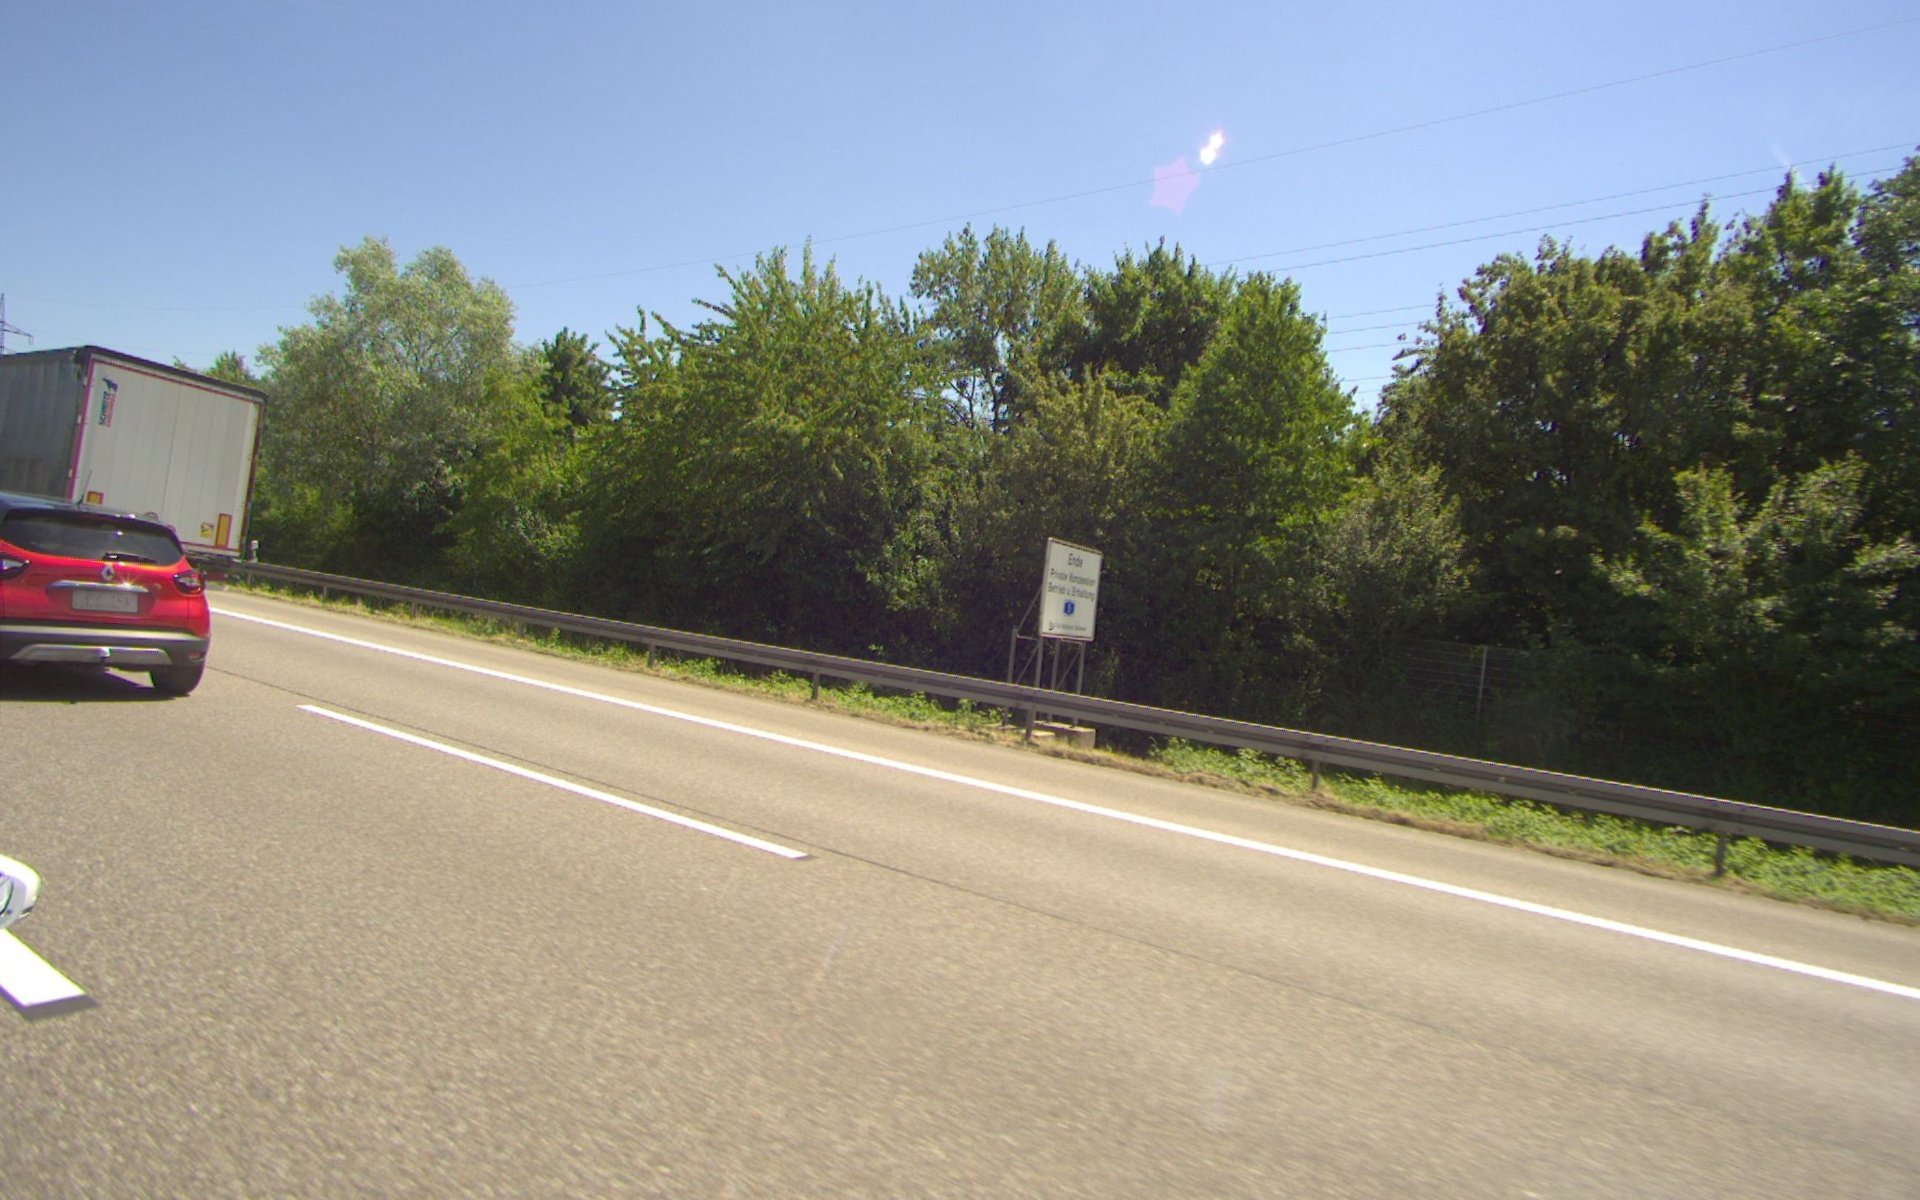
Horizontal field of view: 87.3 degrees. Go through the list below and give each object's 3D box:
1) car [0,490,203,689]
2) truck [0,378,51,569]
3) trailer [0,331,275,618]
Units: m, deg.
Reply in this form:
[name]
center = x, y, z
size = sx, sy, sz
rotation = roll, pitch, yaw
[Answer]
[car]
center = -9.068, -0.238, 9.376
size = 3.934, 1.564, 1.806
rotation = 7, -1, 32
[truck]
center = -24.516, -3.214, 23.747
size = 5.628, 4.214, 2.798
rotation = 7, 0, 32
[trailer]
center = -18.679, -2.544, 20.090
size = 13.349, 4.214, 2.793
rotation = 7, -1, 32
